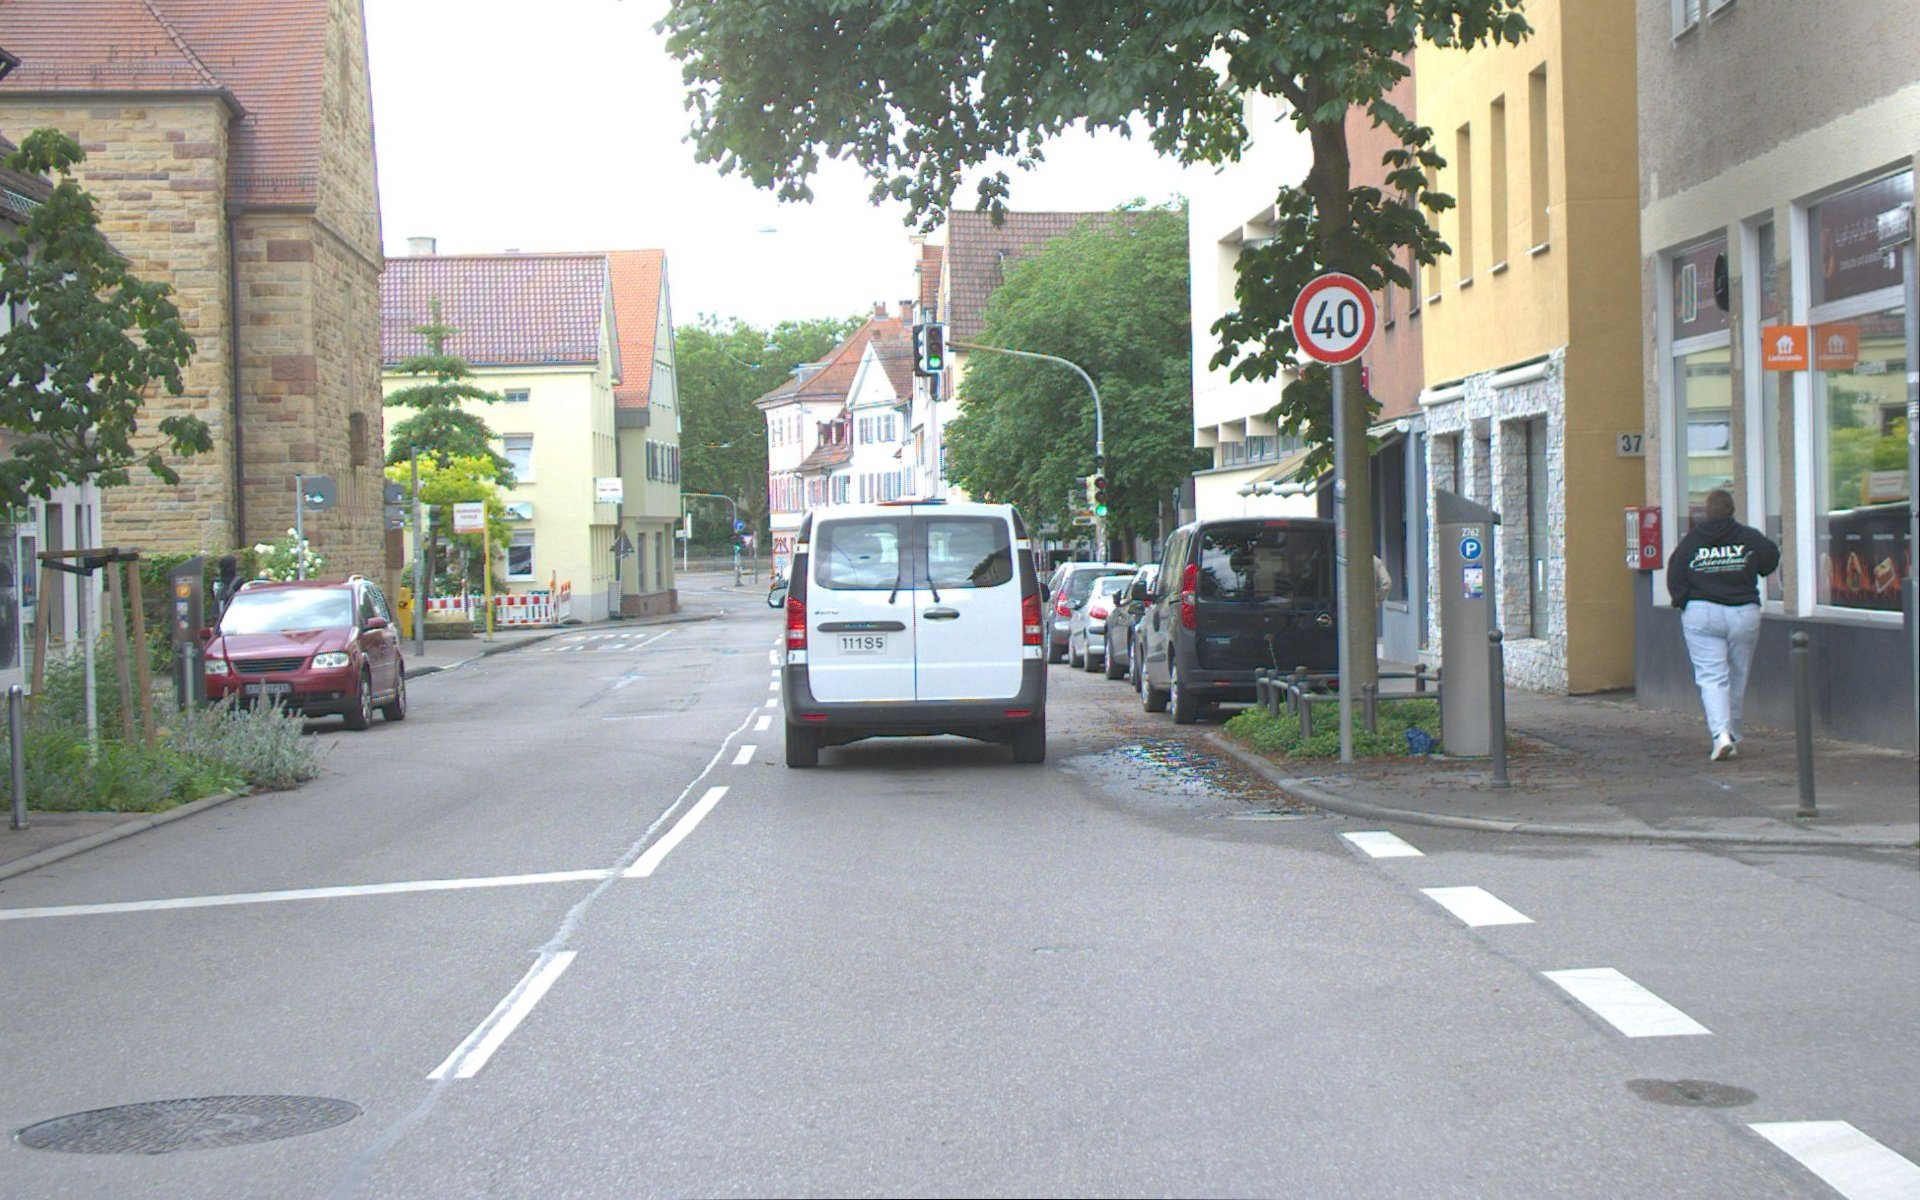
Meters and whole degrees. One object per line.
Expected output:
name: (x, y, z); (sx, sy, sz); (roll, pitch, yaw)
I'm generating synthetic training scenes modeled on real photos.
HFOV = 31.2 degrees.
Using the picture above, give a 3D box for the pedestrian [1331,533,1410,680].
pedestrian: (4.689, 0.067, 39.296); (0.701, 1.643, 0.889); (-2, 1, -2)

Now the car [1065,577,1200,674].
car: (2.443, 0.343, 49.453); (1.551, 1.328, 3.813); (-1, 0, -3)

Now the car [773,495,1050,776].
car: (-0.367, 0.222, 25.644); (1.872, 1.905, 4.000); (-1, 1, -1)

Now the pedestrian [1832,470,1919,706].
pedestrian: (6.175, -0.079, 22.927); (0.567, 1.555, 0.556); (0, 0, -1)

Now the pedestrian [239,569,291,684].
pedestrian: (-9.457, 0.349, 46.791); (0.571, 1.549, 0.697); (1, 0, -1)

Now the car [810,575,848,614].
car: (-6.837, -0.312, 179.595); (1.934, 2.007, 4.000); (0, 0, -3)

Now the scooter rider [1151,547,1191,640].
scooter rider: (3.764, -0.116, 61.405); (0.452, 1.626, 0.505); (-4, -1, -16)

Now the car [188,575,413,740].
car: (-7.141, 0.578, 37.601); (1.702, 1.568, 4.451); (-3, 1, -2)

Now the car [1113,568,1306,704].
car: (2.774, 0.372, 39.132); (1.751, 1.401, 4.511); (-2, 0, -1)

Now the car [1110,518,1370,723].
car: (2.560, 0.170, 32.421); (1.819, 1.775, 4.404); (-1, 0, -3)

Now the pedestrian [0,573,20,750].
pedestrian: (-9.148, 0.567, 31.763); (0.730, 1.623, 0.758); (-1, 1, -26)

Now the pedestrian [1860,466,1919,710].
pedestrian: (6.210, -0.078, 22.291); (0.567, 1.555, 0.655); (0, 0, -1)

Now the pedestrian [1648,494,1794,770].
pedestrian: (4.681, 0.187, 21.193); (0.614, 1.647, 0.983); (-1, 1, -2)

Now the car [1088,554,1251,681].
car: (2.656, 0.201, 44.388); (1.601, 1.513, 4.209); (-2, 0, -3)

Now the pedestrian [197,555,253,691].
pedestrian: (-10.149, 0.308, 47.479); (0.571, 1.842, 0.697); (2, 0, -1)

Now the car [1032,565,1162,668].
car: (2.142, 0.240, 54.560); (1.711, 1.555, 3.786); (-1, 0, -3)
